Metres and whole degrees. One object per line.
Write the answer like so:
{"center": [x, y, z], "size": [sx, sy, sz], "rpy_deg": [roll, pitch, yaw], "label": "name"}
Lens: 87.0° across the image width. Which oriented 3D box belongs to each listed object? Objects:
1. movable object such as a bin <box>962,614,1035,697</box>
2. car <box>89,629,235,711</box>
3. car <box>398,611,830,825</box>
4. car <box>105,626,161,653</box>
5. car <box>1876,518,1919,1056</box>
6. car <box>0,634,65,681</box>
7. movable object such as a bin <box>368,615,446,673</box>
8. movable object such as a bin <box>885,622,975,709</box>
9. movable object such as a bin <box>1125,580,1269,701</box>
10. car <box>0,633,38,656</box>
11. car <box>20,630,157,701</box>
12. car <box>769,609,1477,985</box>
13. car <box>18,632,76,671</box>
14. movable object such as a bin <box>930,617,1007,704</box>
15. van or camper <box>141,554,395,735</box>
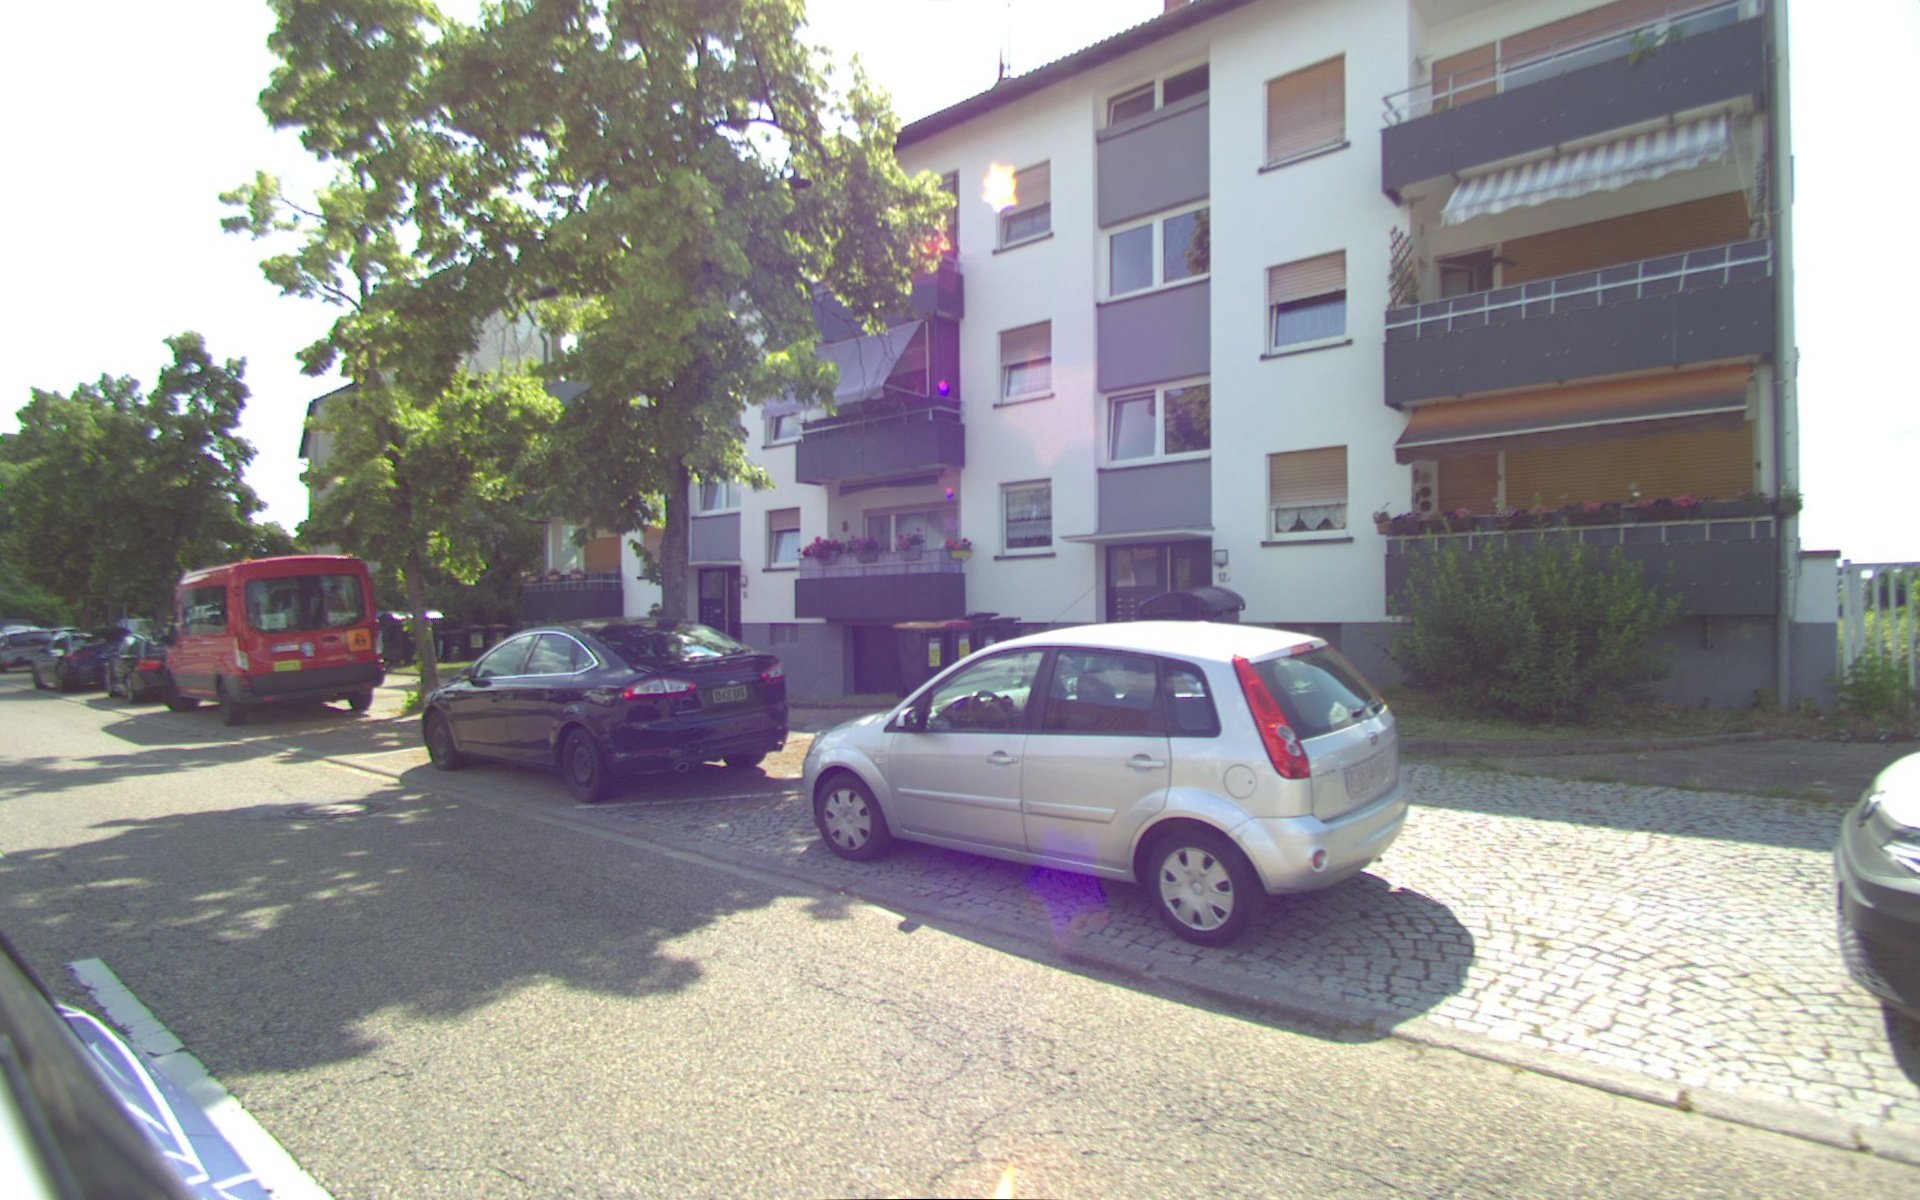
{"center": [0.594, 0.852, 15.601], "size": [0.805, 1.223, 0.742], "rpy_deg": [-4, -3, 40], "label": "movable object such as a bin"}
{"center": [-16.918, 1.396, 21.386], "size": [4.463, 1.447, 1.670], "rpy_deg": [-2, 1, 42], "label": "car"}
{"center": [-3.504, 0.935, 9.760], "size": [4.593, 1.504, 1.792], "rpy_deg": [-1, 2, 40], "label": "car"}
{"center": [-54.774, 2.596, 67.110], "size": [1.792, 1.737, 3.694], "rpy_deg": [0, -2, -21], "label": "car"}
{"center": [5.217, 0.572, 2.322], "size": [4.487, 1.819, 1.792], "rpy_deg": [-2, 2, 40], "label": "car"}
{"center": [-33.496, 2.016, 36.292], "size": [4.002, 1.429, 1.735], "rpy_deg": [-2, 2, 45], "label": "car"}
{"center": [-14.114, 1.115, 25.853], "size": [1.288, 1.396, 1.285], "rpy_deg": [-2, -1, 34], "label": "movable object such as a bin"}
{"center": [-0.417, 0.916, 14.334], "size": [0.824, 1.158, 0.944], "rpy_deg": [-4, -3, 40], "label": "movable object such as a bin"}
{"center": [3.103, 0.523, 13.231], "size": [1.264, 1.394, 1.258], "rpy_deg": [-8, -3, 40], "label": "movable object such as a bin"}
{"center": [-65.829, 3.089, 70.184], "size": [1.756, 1.497, 4.294], "rpy_deg": [4, -4, -29], "label": "car"}
{"center": [-21.569, 1.555, 24.984], "size": [4.626, 1.488, 1.714], "rpy_deg": [-2, 1, 39], "label": "car"}
{"center": [0.739, 0.841, 6.075], "size": [3.924, 1.480, 1.606], "rpy_deg": [-1, 2, 41], "label": "car"}
{"center": [-40.208, 2.237, 44.565], "size": [1.734, 1.499, 3.686], "rpy_deg": [-5, 2, -43], "label": "car"}
{"center": [0.127, 0.891, 15.005], "size": [0.805, 1.223, 0.742], "rpy_deg": [-4, -3, 40], "label": "movable object such as a bin"}
{"center": [-12.014, 0.682, 17.330], "size": [6.222, 2.568, 2.125], "rpy_deg": [-2, 1, 43], "label": "van or camper"}
